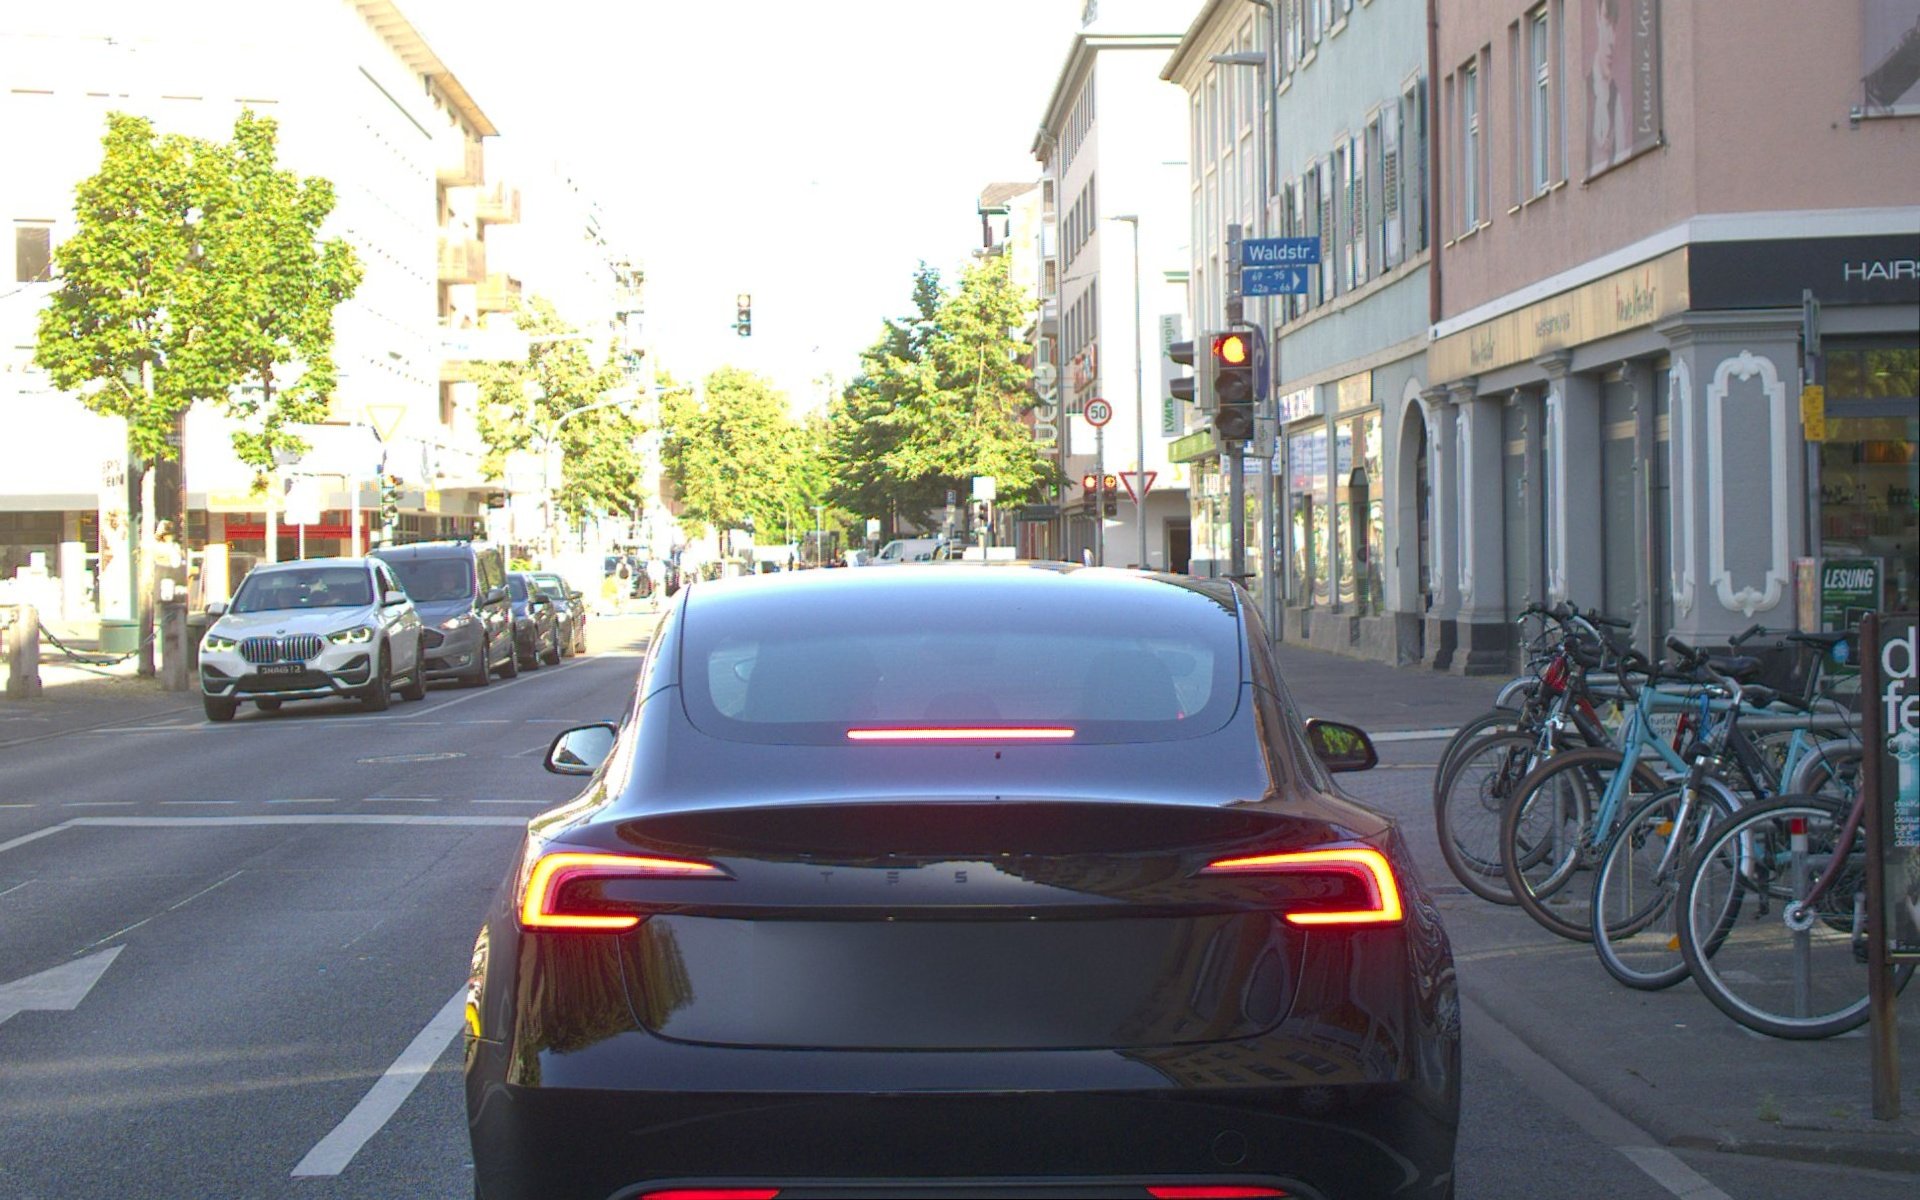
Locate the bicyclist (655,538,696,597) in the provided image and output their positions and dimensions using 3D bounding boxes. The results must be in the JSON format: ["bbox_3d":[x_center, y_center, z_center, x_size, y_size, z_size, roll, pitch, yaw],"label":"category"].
[{"bbox_3d":[-7.906,-0.911,95.617,1.126,1.623,0.965,0,1,-3],"label":"bicyclist"}]

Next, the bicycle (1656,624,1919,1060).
[{"bbox_3d":[3.033,0.670,9.989,1.886,1.189,0.691,-2,1,5],"label":"bicycle"}]

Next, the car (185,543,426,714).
[{"bbox_3d":[-6.746,0.241,35.843,1.807,1.550,4.310,-4,1,-3],"label":"car"}]

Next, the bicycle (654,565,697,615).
[{"bbox_3d":[-7.888,-0.296,95.533,1.111,1.340,4.001,0,1,-3],"label":"bicycle"}]

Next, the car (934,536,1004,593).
[{"bbox_3d":[0.250,-1.034,100.730,1.993,1.623,4.000,0,1,0],"label":"car"}]

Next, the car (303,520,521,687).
[{"bbox_3d":[-6.712,-0.004,42.607,1.834,1.838,4.674,-4,1,0],"label":"car"}]

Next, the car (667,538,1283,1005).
[{"bbox_3d":[-0.017,0.519,13.212,1.993,1.507,4.176,0,1,-2],"label":"car"}]

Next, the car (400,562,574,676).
[{"bbox_3d":[-6.742,0.239,49.435,1.993,1.405,4.675,-4,1,-3],"label":"car"}]

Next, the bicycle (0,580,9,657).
[{"bbox_3d":[-15.708,0.280,52.235,2.323,1.152,0.843,0,1,-5],"label":"bicycle"}]

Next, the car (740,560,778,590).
[{"bbox_3d":[-10.931,-1.370,187.078,1.993,1.631,4.001,0,1,-3],"label":"car"}]

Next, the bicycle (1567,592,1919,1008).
[{"bbox_3d":[2.887,0.621,11.121,1.722,1.263,0.790,-2,1,5],"label":"bicycle"}]

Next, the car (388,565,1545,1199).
[{"bbox_3d":[-0.009,0.655,7.503,1.848,1.450,4.000,0,1,-1],"label":"car"}]

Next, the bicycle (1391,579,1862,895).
[{"bbox_3d":[2.811,0.570,14.682,1.862,1.253,0.832,-2,1,5],"label":"bicycle"}]

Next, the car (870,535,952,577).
[{"bbox_3d":[-2.410,-2.149,167.556,3.986,2.007,2.000,0,1,-2],"label":"car"}]

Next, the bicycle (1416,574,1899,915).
[{"bbox_3d":[2.741,0.558,13.651,1.746,1.262,0.781,-2,1,3],"label":"bicycle"}]

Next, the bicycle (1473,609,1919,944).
[{"bbox_3d":[2.808,0.623,12.473,1.798,1.120,0.781,-2,1,5],"label":"bicycle"}]

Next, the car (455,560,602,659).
[{"bbox_3d":[-7.107,0.121,57.026,1.993,1.431,4.675,-4,1,-3],"label":"car"}]
